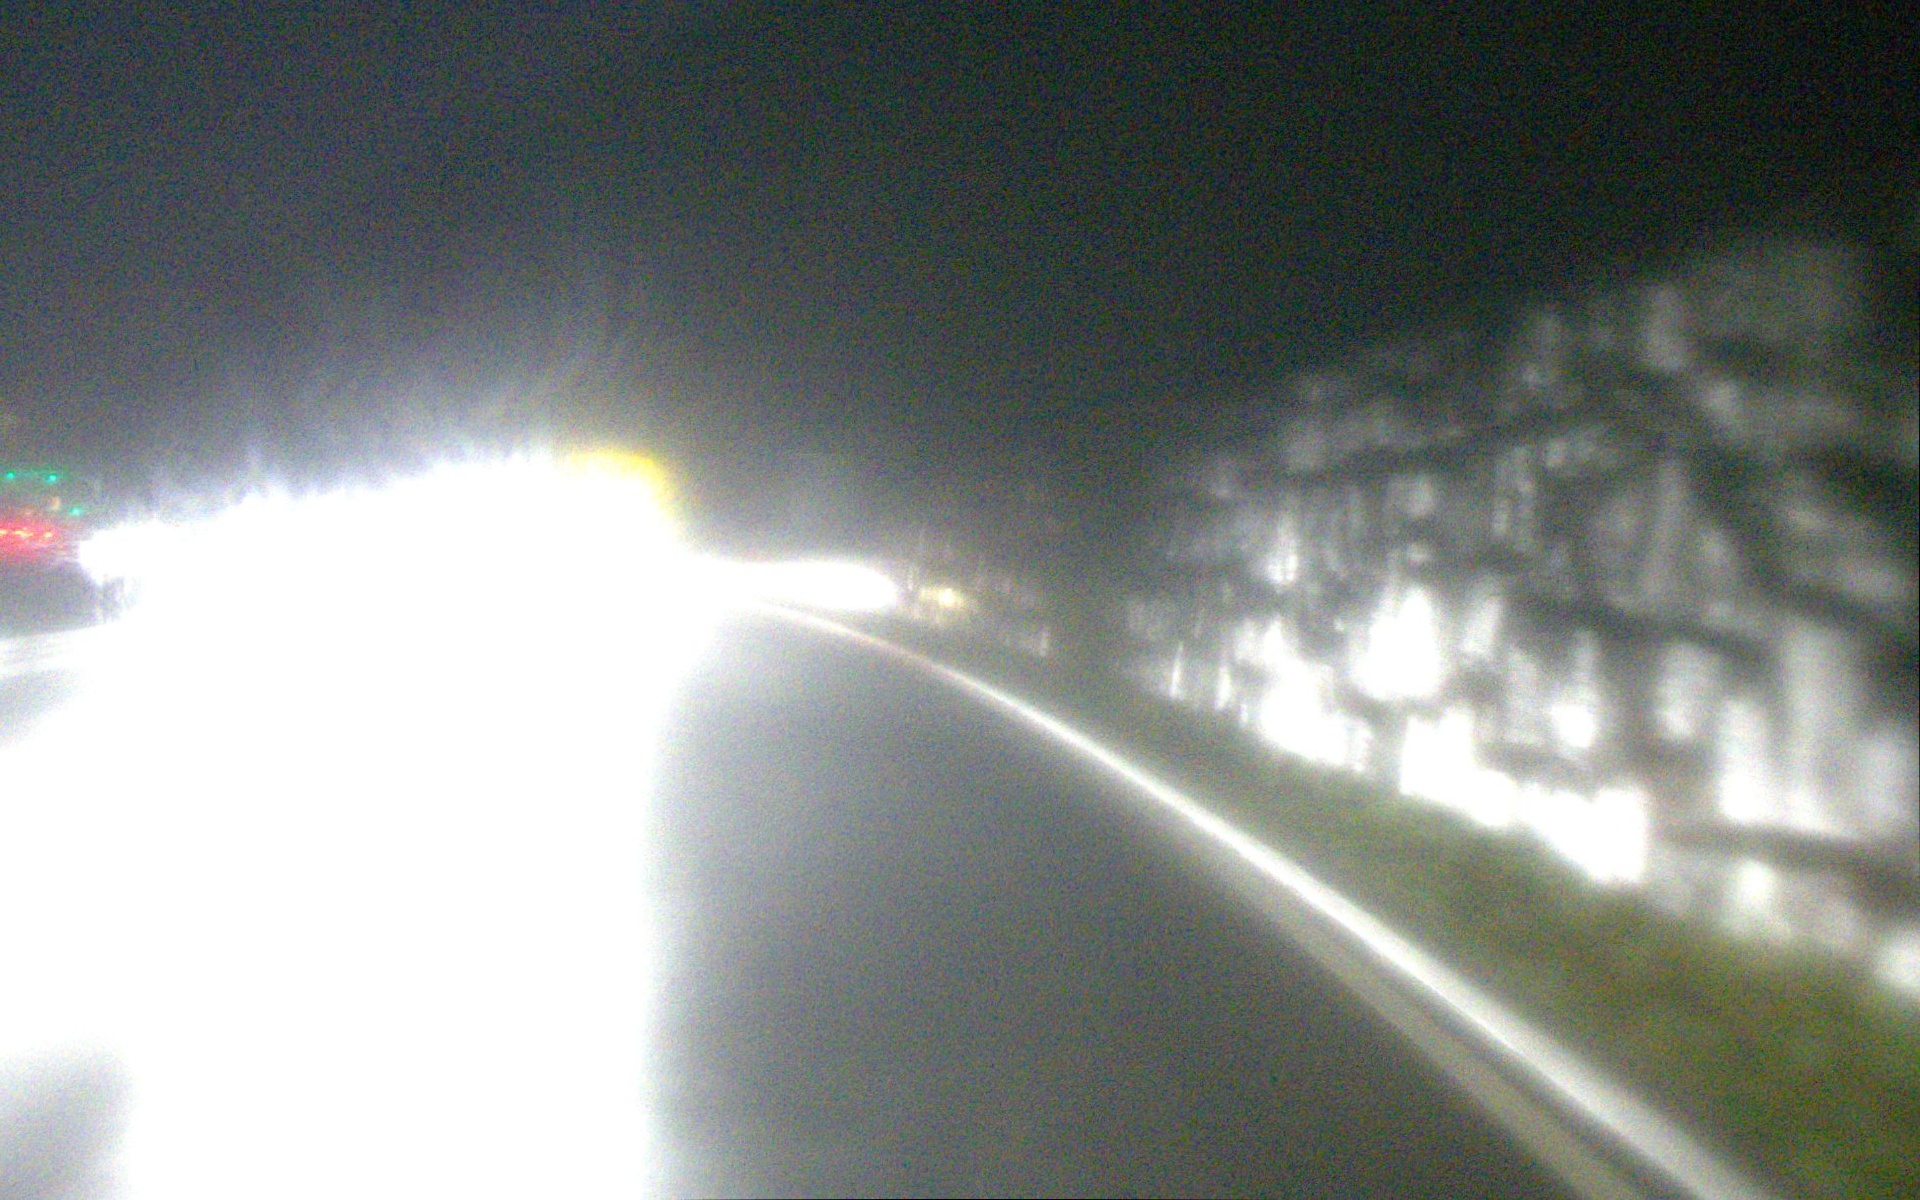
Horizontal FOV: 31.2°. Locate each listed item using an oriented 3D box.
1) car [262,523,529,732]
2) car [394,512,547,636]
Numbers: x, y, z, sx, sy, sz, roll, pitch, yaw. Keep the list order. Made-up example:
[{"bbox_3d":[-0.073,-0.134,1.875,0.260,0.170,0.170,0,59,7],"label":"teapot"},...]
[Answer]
[{"bbox_3d":[-4.814,0.198,29.816,1.808,1.670,4.293,0,1,-3],"label":"car"},{"bbox_3d":[-7.429,-0.404,52.559,1.993,1.800,4.597,0,1,-4],"label":"car"}]
